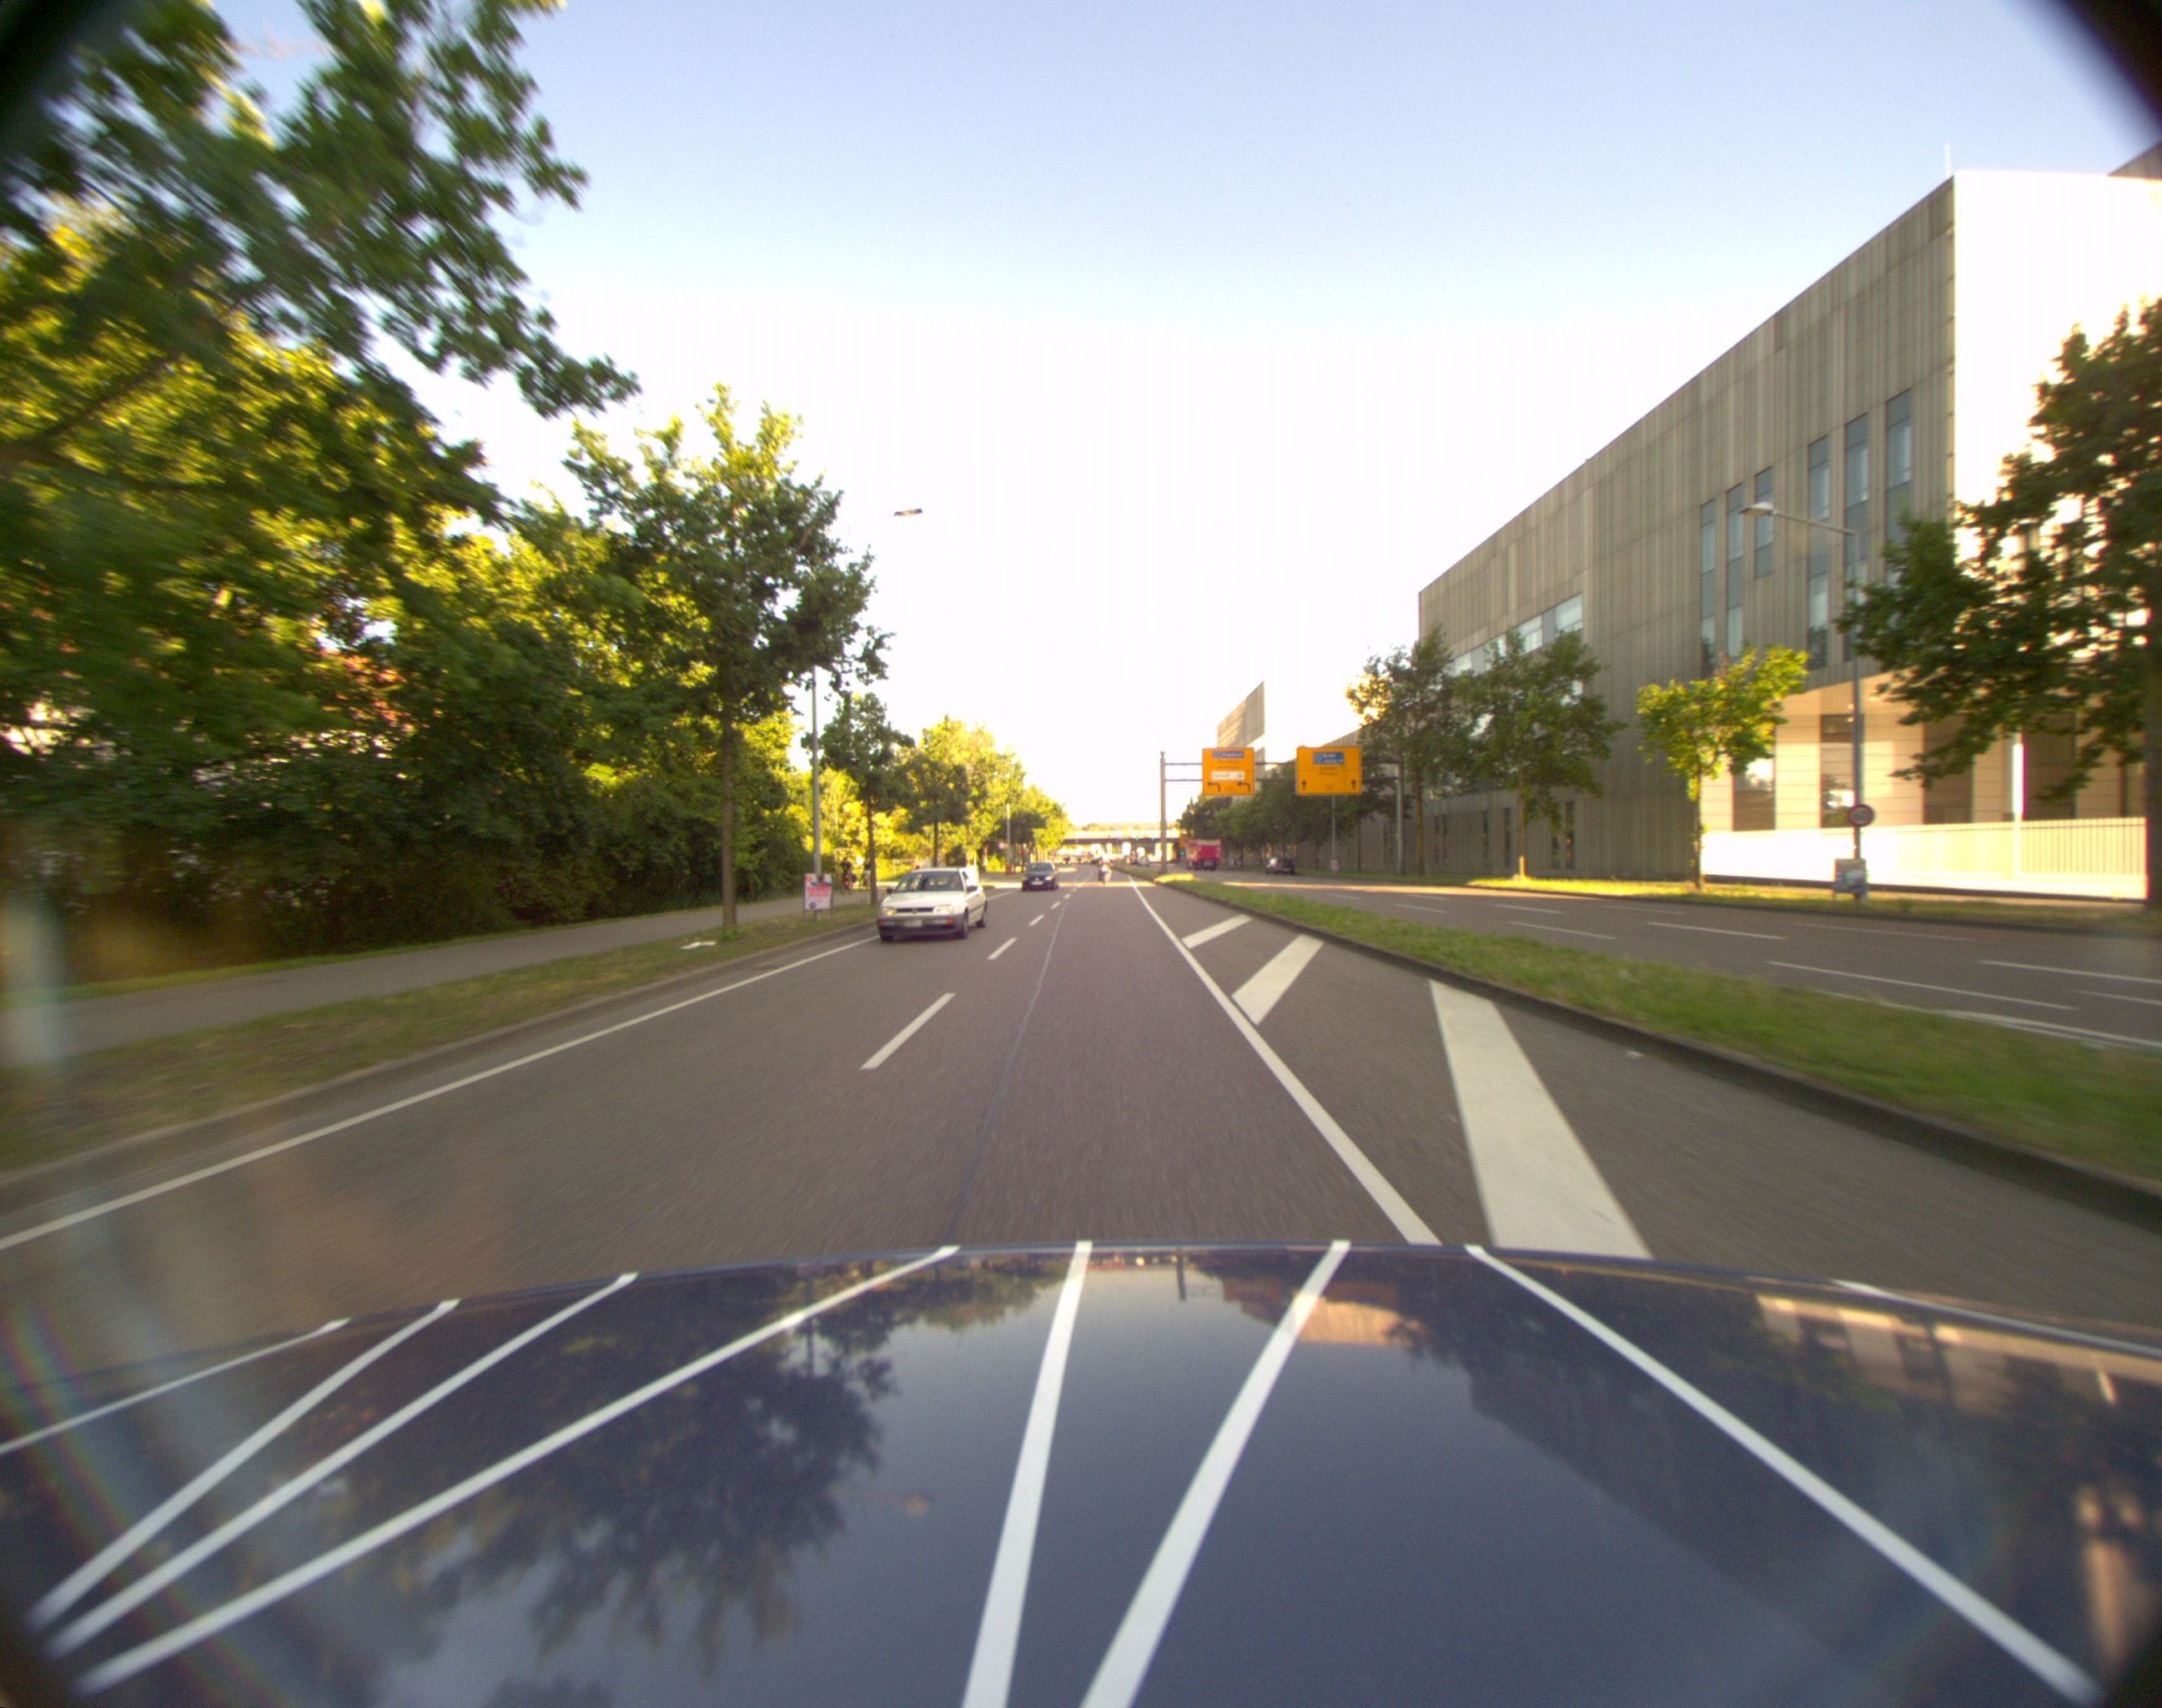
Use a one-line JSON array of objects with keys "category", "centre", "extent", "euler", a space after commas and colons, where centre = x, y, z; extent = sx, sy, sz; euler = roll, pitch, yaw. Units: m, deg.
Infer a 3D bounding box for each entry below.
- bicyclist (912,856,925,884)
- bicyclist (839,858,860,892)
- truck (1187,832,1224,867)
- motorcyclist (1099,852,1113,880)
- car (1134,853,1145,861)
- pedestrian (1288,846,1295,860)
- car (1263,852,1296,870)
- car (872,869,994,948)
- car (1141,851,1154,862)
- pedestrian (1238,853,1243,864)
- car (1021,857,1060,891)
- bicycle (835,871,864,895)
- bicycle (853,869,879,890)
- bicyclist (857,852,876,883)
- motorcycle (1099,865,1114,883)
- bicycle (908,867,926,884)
[{"category": "bicyclist", "centre": [-10.367, 1.024, 48.517], "extent": [0.604, 1.723, 0.848], "euler": [-1, 1, 2]}, {"category": "bicyclist", "centre": [-10.137, 0.911, 33.308], "extent": [0.614, 1.493, 0.848], "euler": [-1, 1, 2]}, {"category": "truck", "centre": [14.281, -0.458, 88.178], "extent": [3.005, 3.789, 10.090], "euler": [-1, 0, 2]}, {"category": "motorcyclist", "centre": [1.412, 0.652, 42.401], "extent": [0.734, 1.503, 0.919], "euler": [-1, 1, -1]}, {"category": "car", "centre": [11.791, 0.600, 152.224], "extent": [1.930, 1.510, 4.000], "euler": [0, 0, 1]}, {"category": "pedestrian", "centre": [26.187, -0.083, 94.510], "extent": [0.604, 1.757, 0.649], "euler": [-1, 1, 2]}, {"category": "car", "centre": [16.863, 0.587, 64.674], "extent": [1.600, 1.504, 3.866], "euler": [-1, 0, -2]}, {"category": "car", "centre": [-2.977, 1.049, 16.088], "extent": [1.614, 1.390, 4.039], "euler": [-2, -1, 2]}, {"category": "car", "centre": [11.629, 0.438, 133.267], "extent": [1.998, 1.805, 4.401], "euler": [0, 0, 2]}, {"category": "pedestrian", "centre": [23.872, 0.687, 113.779], "extent": [0.698, 1.619, 0.725], "euler": [-1, 1, 0]}, {"category": "car", "centre": [-1.977, 0.981, 38.269], "extent": [1.726, 1.490, 4.213], "euler": [-3, 1, -1]}, {"category": "bicycle", "centre": [-10.130, 1.272, 33.293], "extent": [0.618, 0.968, 1.822], "euler": [-1, 0, 2]}, {"category": "bicycle", "centre": [-10.708, 1.278, 37.898], "extent": [0.618, 0.968, 2.059], "euler": [-1, 0, 2]}, {"category": "bicyclist", "centre": [-10.720, 0.667, 37.986], "extent": [0.604, 1.569, 0.848], "euler": [-1, 1, 2]}, {"category": "motorcycle", "centre": [1.413, 1.105, 42.431], "extent": [0.749, 0.977, 2.140], "euler": [-1, 0, -1]}, {"category": "bicycle", "centre": [-10.377, 1.358, 48.096], "extent": [0.618, 0.968, 2.059], "euler": [-1, 0, 2]}]
